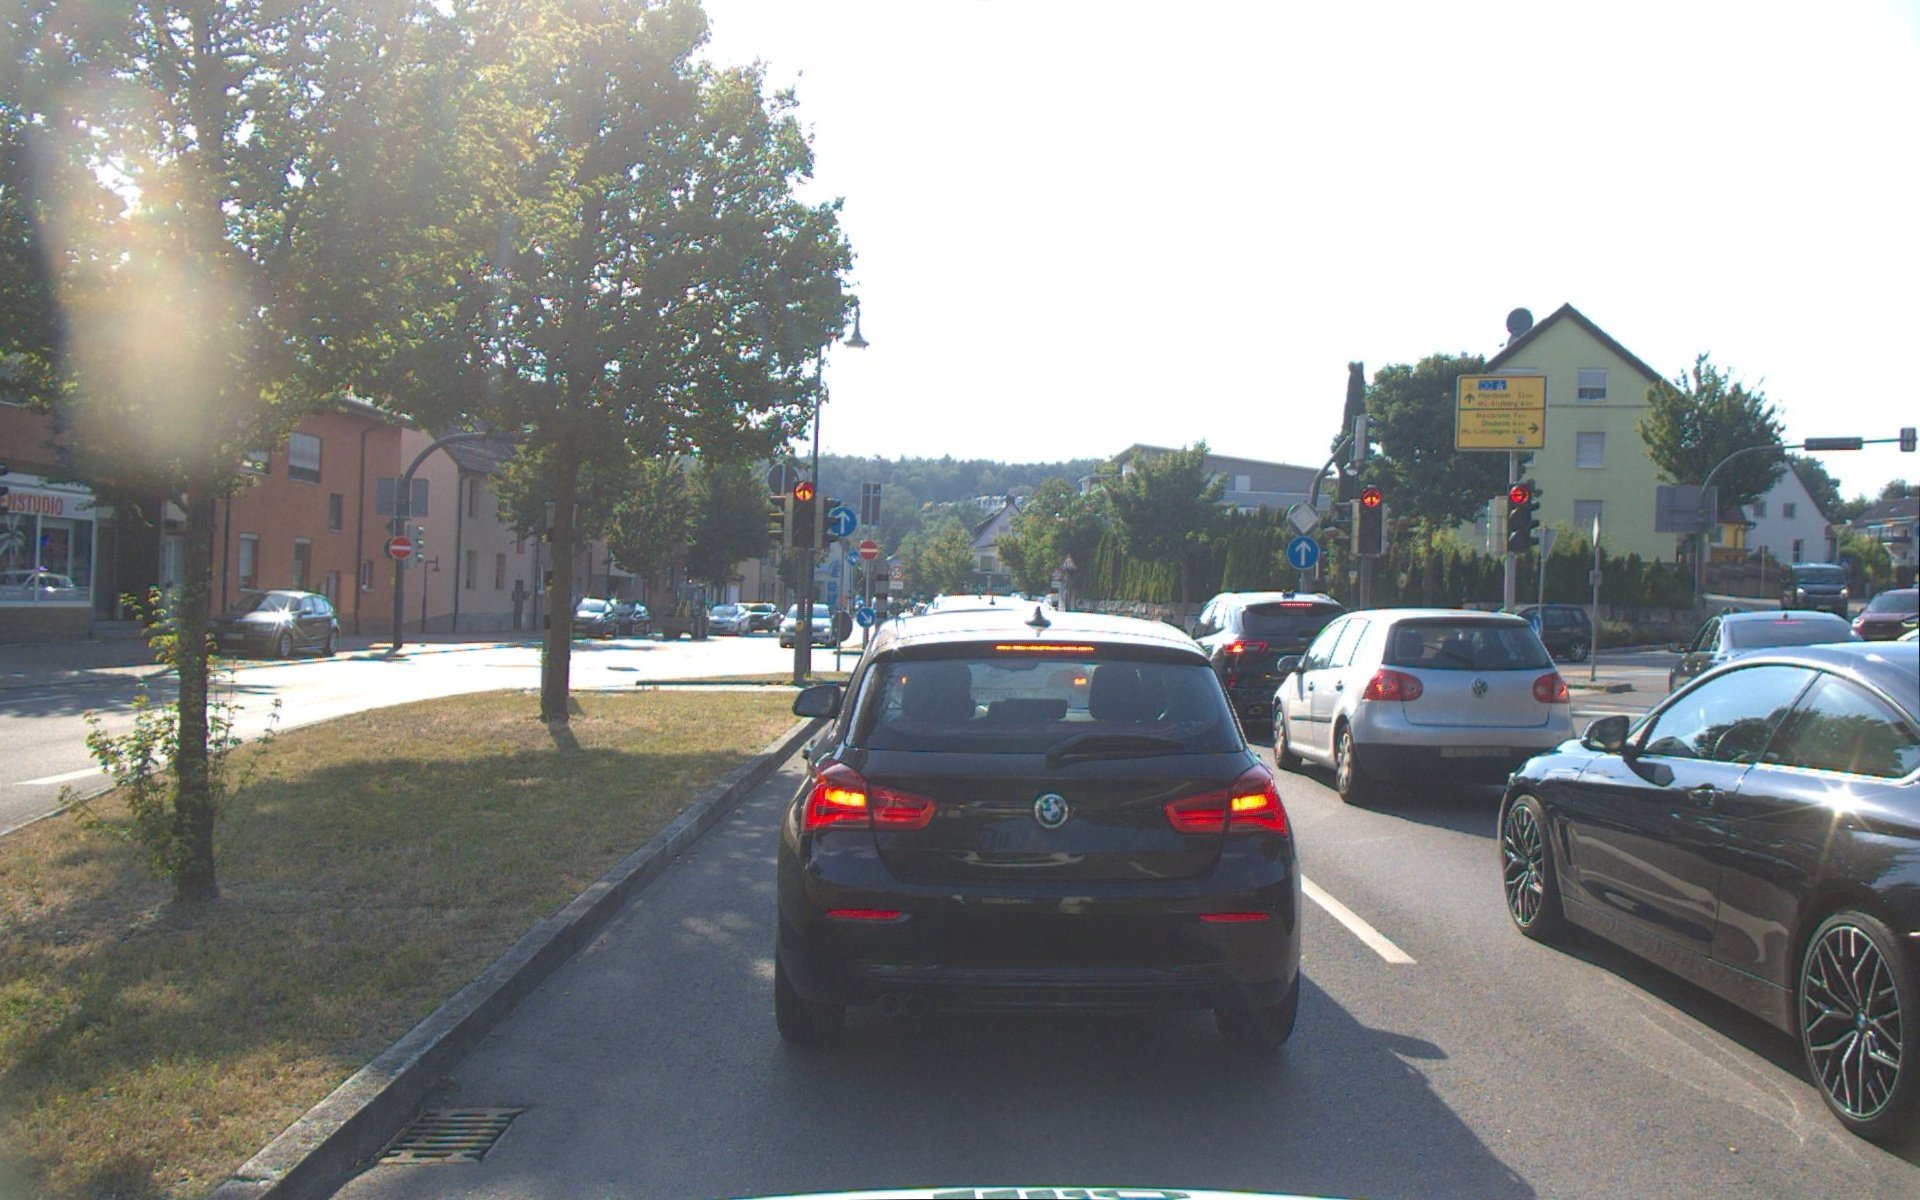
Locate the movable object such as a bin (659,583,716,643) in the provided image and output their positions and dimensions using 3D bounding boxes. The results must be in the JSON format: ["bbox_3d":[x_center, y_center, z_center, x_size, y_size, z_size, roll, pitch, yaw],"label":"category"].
[{"bbox_3d":[-11.708,0.554,71.341,1.701,2.485,4.449,0,0,0],"label":"movable object such as a bin"}]

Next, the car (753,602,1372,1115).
[{"bbox_3d":[0.290,0.735,6.849,1.751,1.422,4.280,-1,0,0],"label":"car"}]

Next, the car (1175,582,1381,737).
[{"bbox_3d":[3.740,0.647,20.067,1.725,1.685,3.902,-1,0,0],"label":"car"}]

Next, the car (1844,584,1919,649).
[{"bbox_3d":[25.815,0.455,45.089,4.398,1.670,1.818,1,0,-45],"label":"car"}]

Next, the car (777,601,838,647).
[{"bbox_3d":[-5.285,0.816,57.615,1.801,1.508,3.999,1,0,-1],"label":"car"}]

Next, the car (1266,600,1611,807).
[{"bbox_3d":[3.787,0.739,13.785,1.725,1.451,3.902,-1,0,0],"label":"car"}]

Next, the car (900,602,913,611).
[{"bbox_3d":[-8.097,0.975,251.190,1.701,1.323,3.800,5,0,2],"label":"car"}]

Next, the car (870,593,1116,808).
[{"bbox_3d":[0.231,0.714,13.994,1.751,1.520,4.280,-1,0,0],"label":"car"}]

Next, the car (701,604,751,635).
[{"bbox_3d":[-11.469,0.954,81.260,1.701,1.323,3.800,5,0,2],"label":"car"}]

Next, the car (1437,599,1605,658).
[{"bbox_3d":[15.165,0.758,44.843,3.907,1.515,1.847,1,0,-3],"label":"car"}]

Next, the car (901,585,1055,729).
[{"bbox_3d":[0.202,0.647,21.034,1.751,1.622,4.280,-1,0,0],"label":"car"}]

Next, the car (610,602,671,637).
[{"bbox_3d":[-14.108,0.833,73.199,1.701,1.323,4.001,5,0,2],"label":"car"}]

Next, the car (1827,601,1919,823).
[{"bbox_3d":[7.615,0.797,11.637,1.583,1.569,3.320,-1,0,6],"label":"car"}]

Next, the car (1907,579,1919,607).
[{"bbox_3d":[58.920,-0.431,100.525,1.932,1.709,4.198,0,0,36],"label":"car"}]

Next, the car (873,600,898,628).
[{"bbox_3d":[-6.740,1.241,150.114,2.042,2.435,5.527,1,0,-1],"label":"car"}]

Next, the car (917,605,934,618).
[{"bbox_3d":[-4.005,1.354,191.608,1.701,1.323,3.800,5,0,2],"label":"car"}]

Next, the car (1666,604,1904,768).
[{"bbox_3d":[9.040,0.850,18.470,1.621,1.569,4.401,-1,0,17],"label":"car"}]

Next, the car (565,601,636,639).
[{"bbox_3d":[-14.501,0.801,66.918,1.701,1.323,4.001,5,0,3],"label":"car"}]

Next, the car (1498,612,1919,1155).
[{"bbox_3d":[3.465,0.785,5.829,1.725,1.422,4.280,-1,0,0],"label":"car"}]

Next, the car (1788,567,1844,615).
[{"bbox_3d":[32.680,-0.329,63.115,1.807,1.770,4.777,1,0,28],"label":"car"}]

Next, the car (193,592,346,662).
[{"bbox_3d":[-15.476,0.572,37.304,1.702,1.323,3.999,5,0,-1],"label":"car"}]

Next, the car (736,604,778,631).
[{"bbox_3d":[-11.422,0.977,93.291,1.701,1.323,3.800,5,0,2],"label":"car"}]
